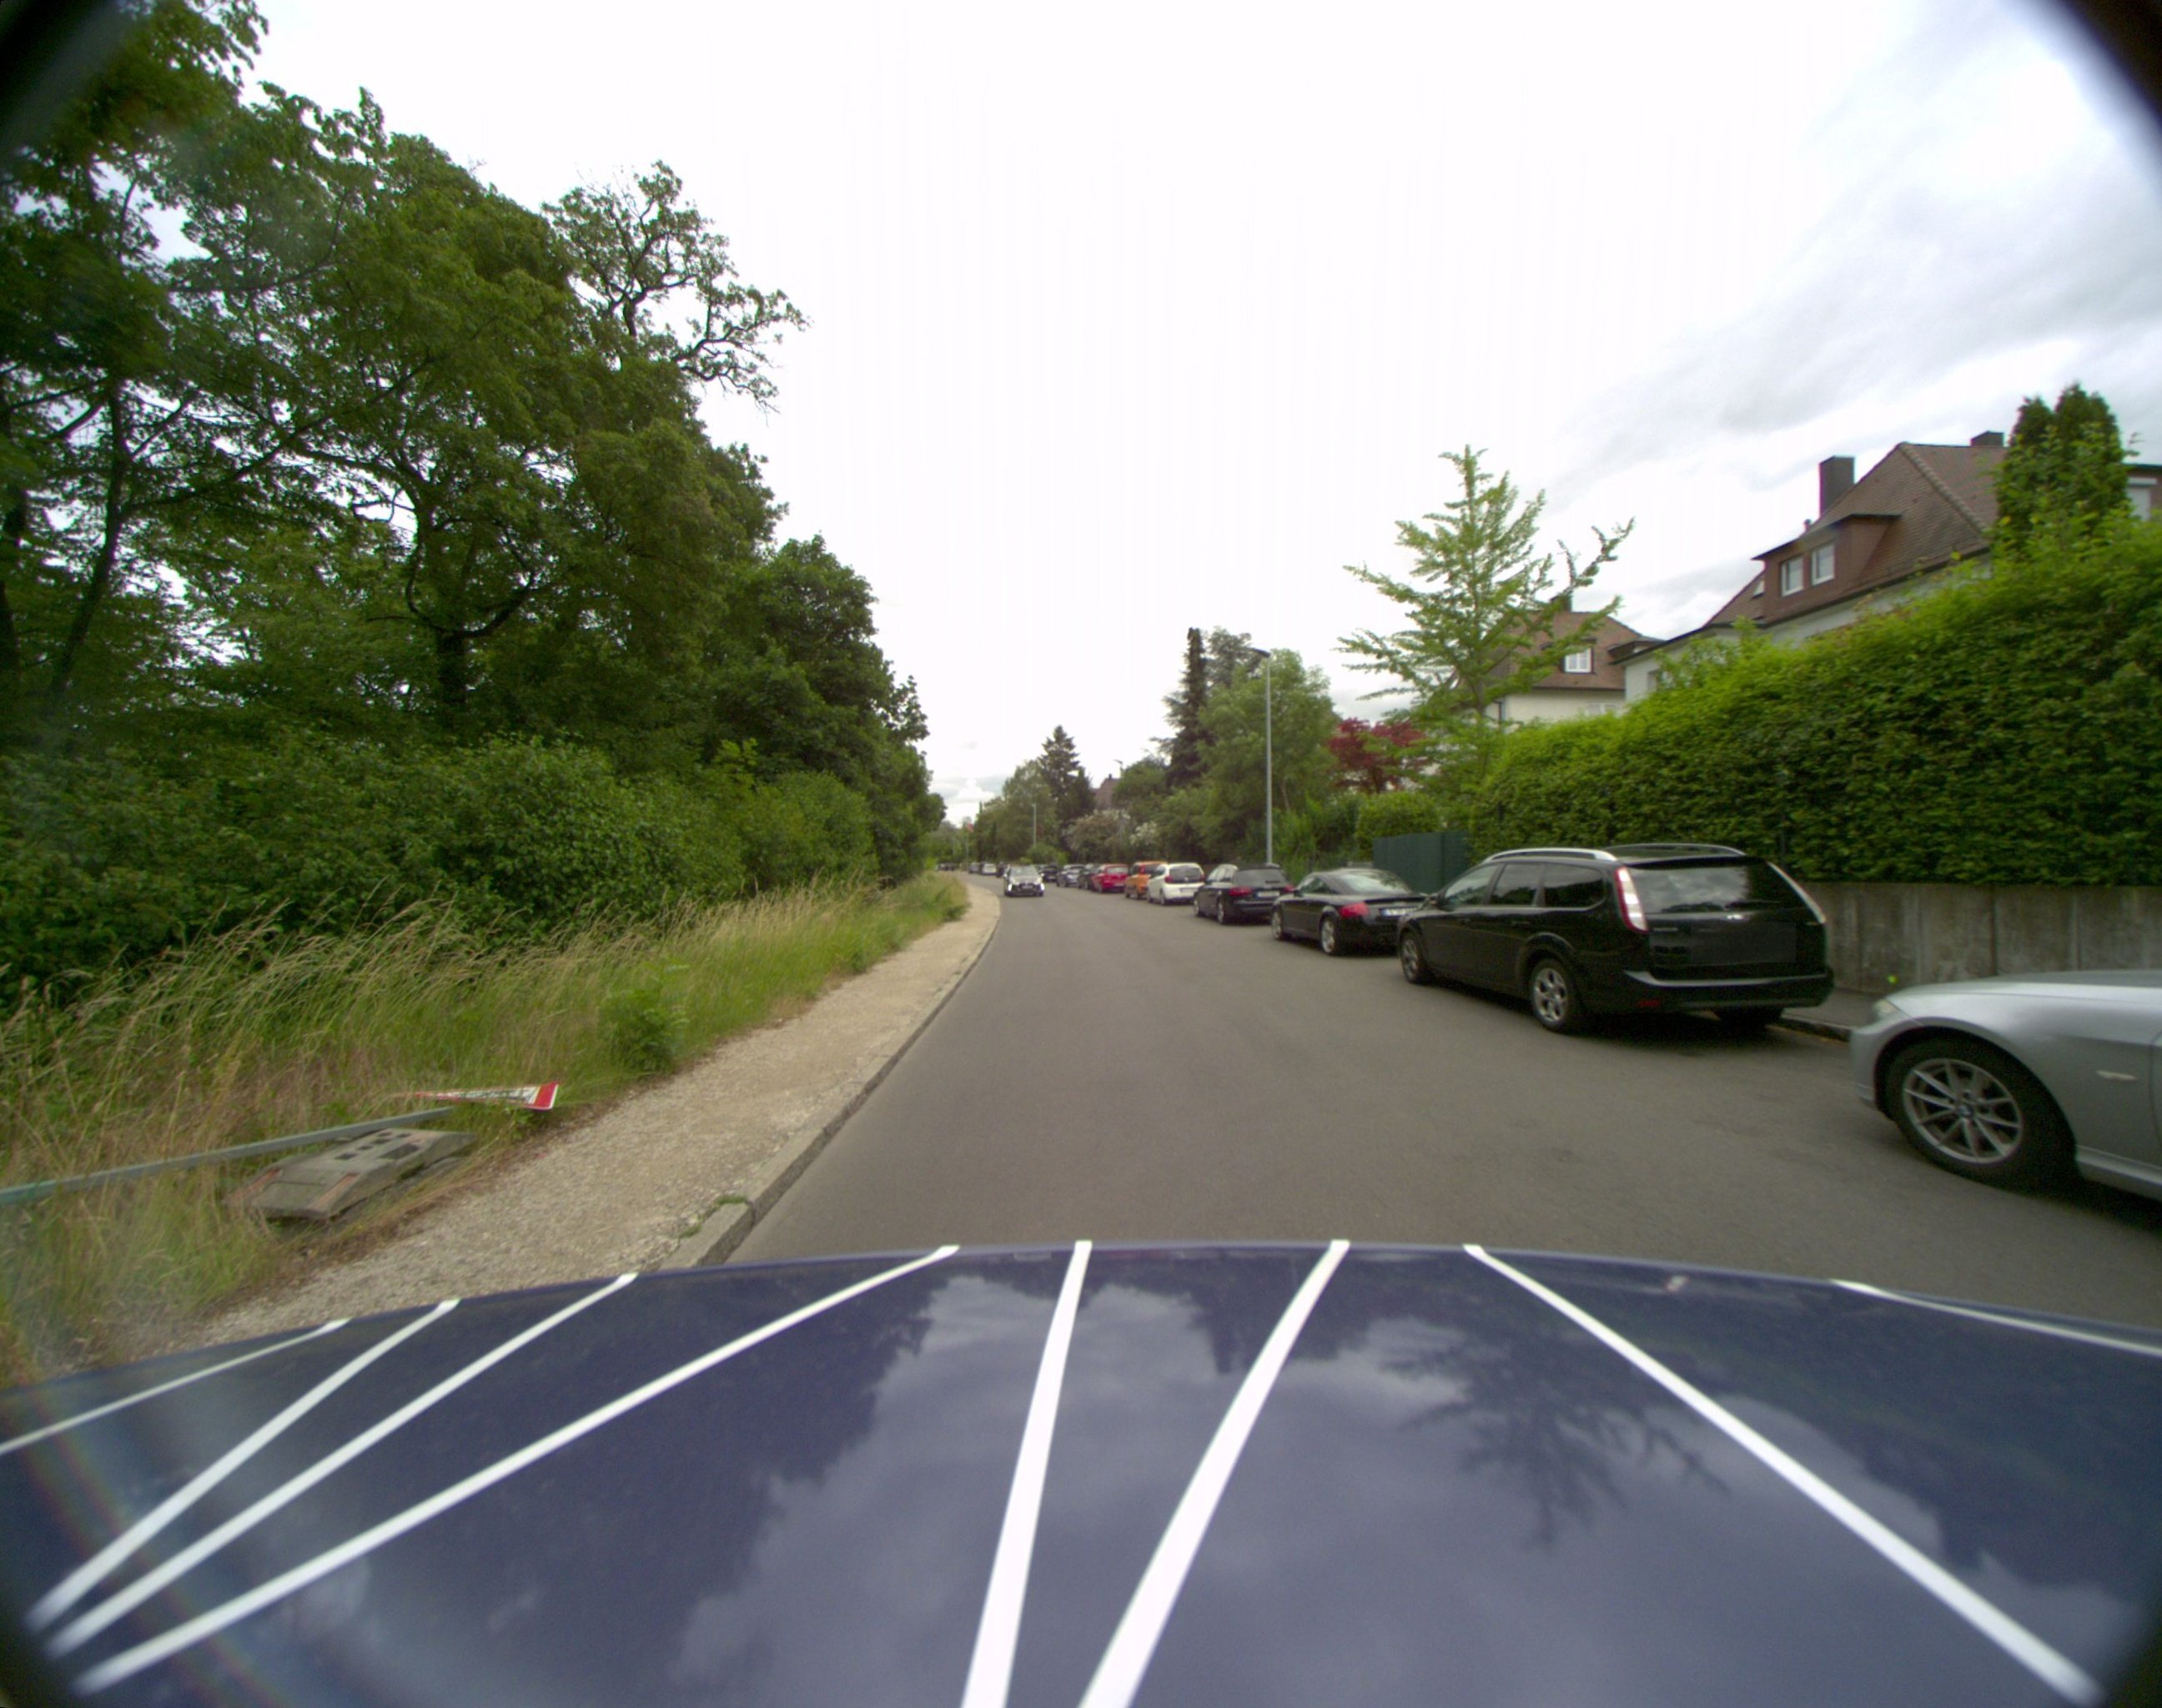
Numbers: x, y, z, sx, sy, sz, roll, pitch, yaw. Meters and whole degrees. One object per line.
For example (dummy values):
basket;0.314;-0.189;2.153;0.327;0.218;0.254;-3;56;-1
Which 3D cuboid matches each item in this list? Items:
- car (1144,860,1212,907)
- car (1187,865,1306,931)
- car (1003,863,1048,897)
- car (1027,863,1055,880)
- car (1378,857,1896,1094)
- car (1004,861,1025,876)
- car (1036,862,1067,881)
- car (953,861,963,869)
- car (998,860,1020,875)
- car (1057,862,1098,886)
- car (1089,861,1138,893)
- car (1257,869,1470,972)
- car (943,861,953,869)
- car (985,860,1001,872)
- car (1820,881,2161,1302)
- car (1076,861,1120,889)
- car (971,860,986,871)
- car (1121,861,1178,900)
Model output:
car;3.393;0.990;27.129;1.593;1.505;3.588;-1;0;-6
car;3.980;1.003;19.131;1.723;1.376;4.662;-1;0;-3
car;-2.752;1.221;37.036;1.713;1.466;4.191;-1;0;-10
car;-3.528;1.486;65.814;1.713;1.408;4.145;-1;0;-13
car;4.593;0.822;7.308;1.661;1.524;4.474;-2;0;0
car;-7.051;1.482;80.276;1.713;1.502;3.941;-1;0;-13
car;-2.428;1.360;61.229;1.713;1.408;4.127;-1;0;-13
car;-27.293;2.361;168.025;1.924;1.670;4.190;-1;0;-12
car;-8.065;1.477;84.480;1.798;1.654;4.386;-1;0;-13
car;-0.281;1.268;49.181;1.713;1.402;4.156;-1;0;-13
car;1.626;1.139;39.491;1.712;1.505;4.360;-1;0;-8
car;4.476;0.974;12.784;1.716;1.333;4.106;-2;0;-5
car;-31.208;2.534;178.175;1.925;1.670;4.189;-1;0;-17
car;-11.610;1.597;99.808;1.713;1.502;4.550;-1;0;-11
car;4.650;0.837;1.633;1.780;1.366;4.340;-2;0;-2
car;0.920;1.189;44.482;1.713;1.505;4.491;-1;0;-10
car;-15.903;1.747;118.005;1.802;1.597;4.725;-1;0;-13
car;2.785;1.055;31.709;1.548;1.505;3.641;-1;0;-8
